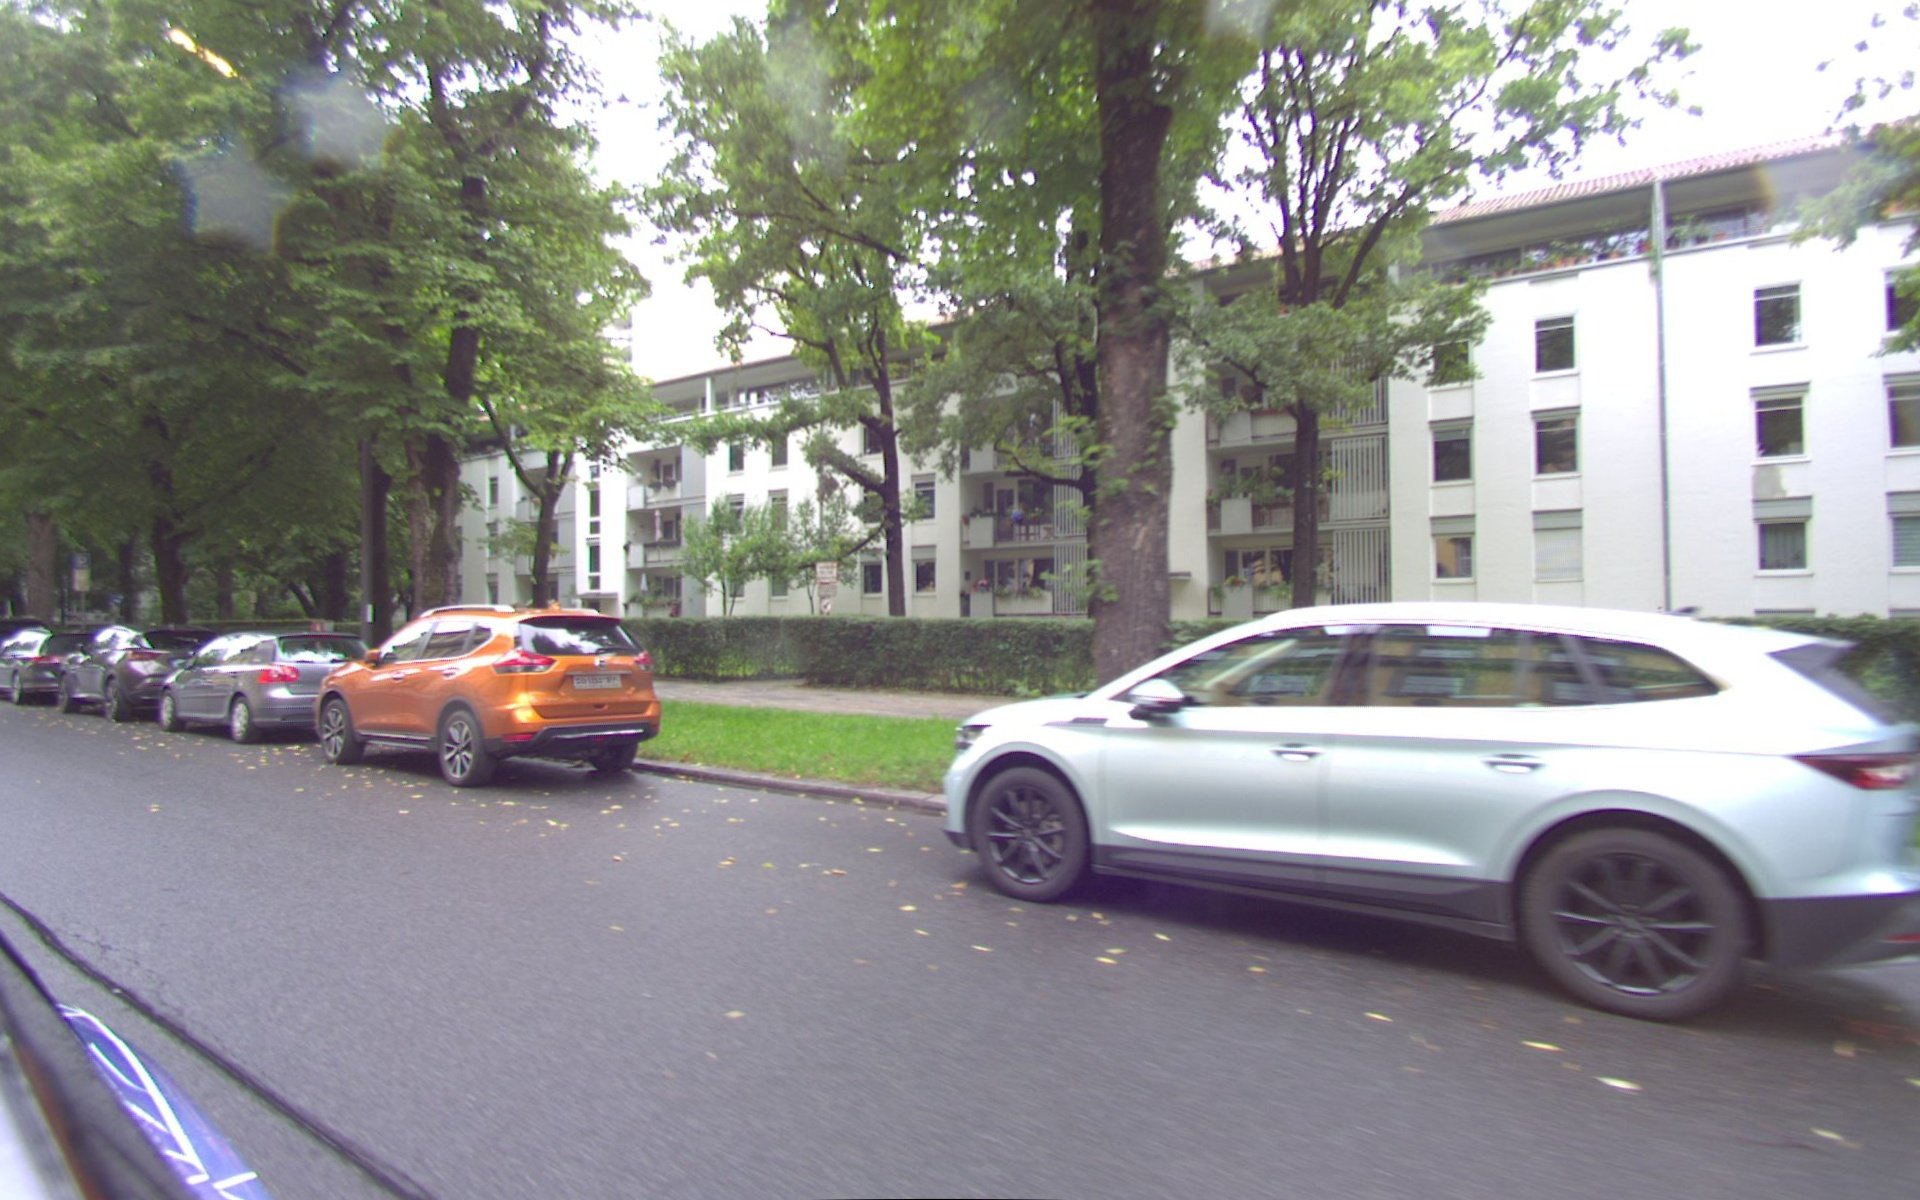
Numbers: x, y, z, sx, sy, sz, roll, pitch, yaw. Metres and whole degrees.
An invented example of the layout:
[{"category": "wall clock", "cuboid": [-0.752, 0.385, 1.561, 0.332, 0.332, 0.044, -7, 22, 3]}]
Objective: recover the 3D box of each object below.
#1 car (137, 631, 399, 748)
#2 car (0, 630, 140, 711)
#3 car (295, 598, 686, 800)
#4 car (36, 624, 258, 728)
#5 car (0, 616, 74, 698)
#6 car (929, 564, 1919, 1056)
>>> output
[{"category": "car", "cuboid": [-9.923, 1.171, 14.413, 4.241, 1.433, 1.712, -1, -2, 35]}, {"category": "car", "cuboid": [-18.492, 1.350, 20.597, 4.687, 1.462, 1.703, -1, -2, 37]}, {"category": "car", "cuboid": [-5.160, 0.905, 10.862, 4.633, 1.741, 1.855, -1, -2, 37]}, {"category": "car", "cuboid": [-14.049, 1.244, 17.421, 4.476, 1.586, 1.770, -1, -4, 35]}, {"category": "car", "cuboid": [-23.004, 1.301, 24.000, 4.912, 1.811, 1.975, -1, -3, 37]}, {"category": "car", "cuboid": [2.159, 0.737, 5.175, 4.504, 1.614, 1.799, -1, -2, 36]}]
